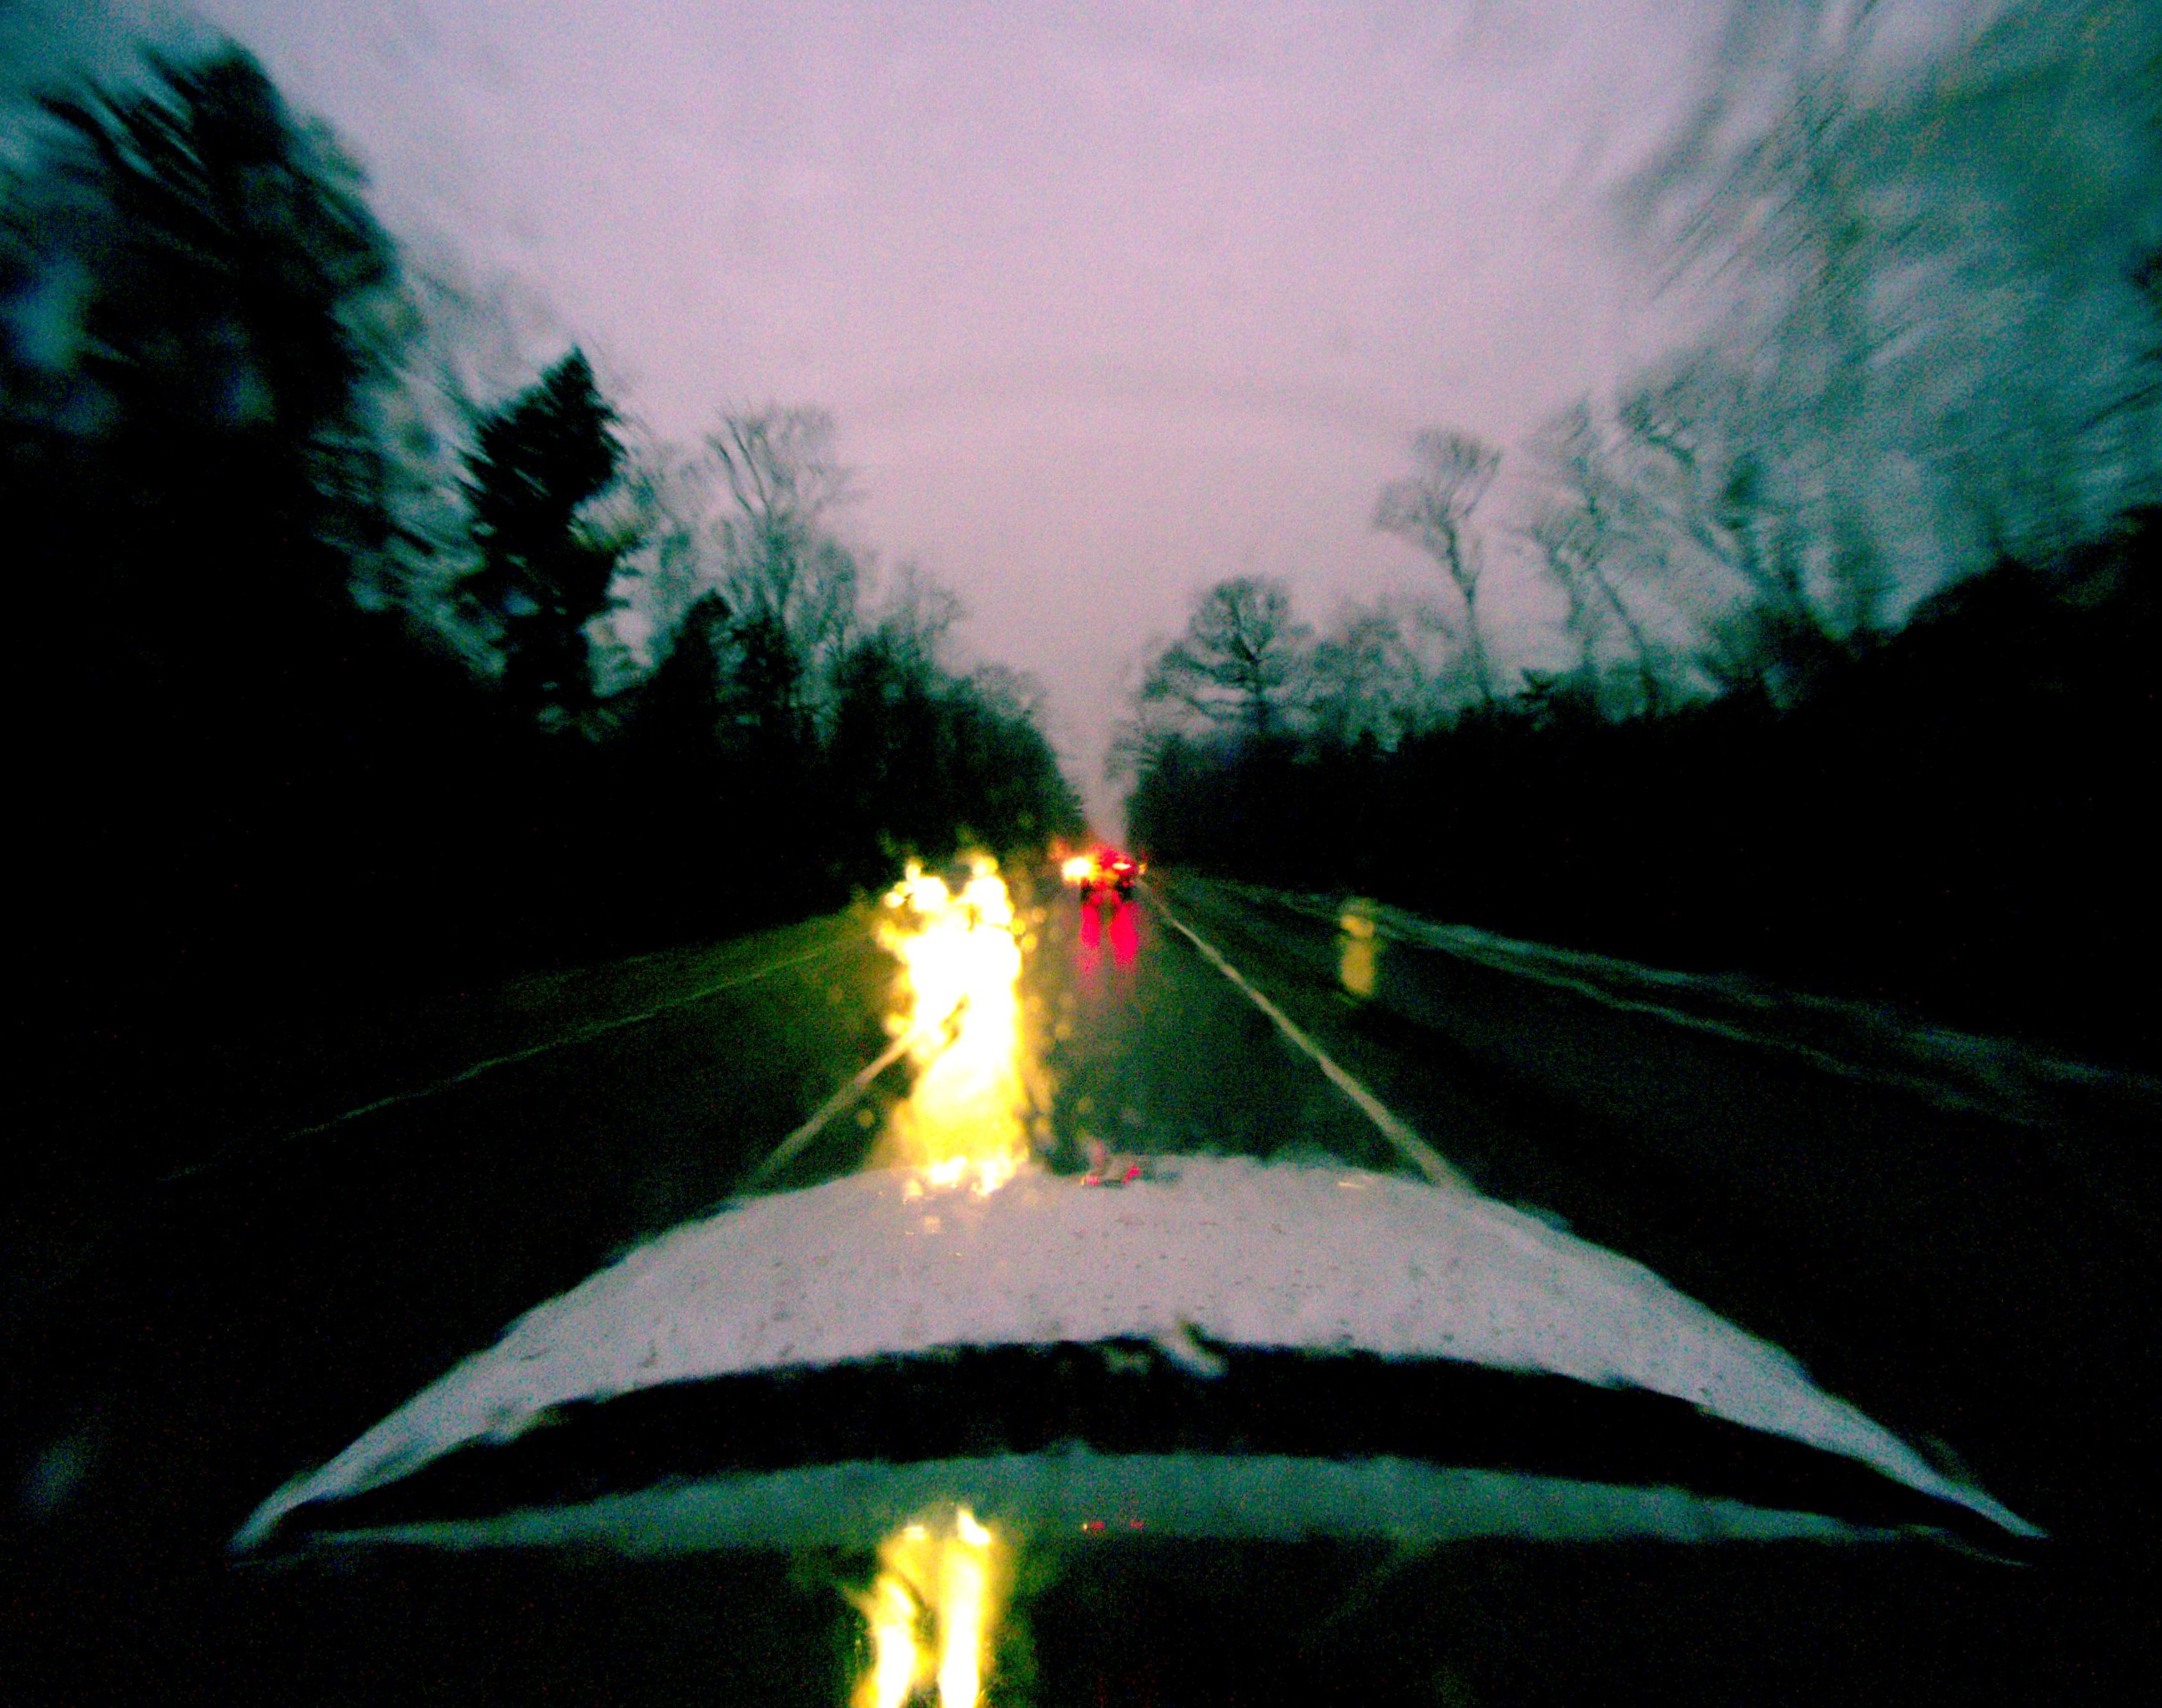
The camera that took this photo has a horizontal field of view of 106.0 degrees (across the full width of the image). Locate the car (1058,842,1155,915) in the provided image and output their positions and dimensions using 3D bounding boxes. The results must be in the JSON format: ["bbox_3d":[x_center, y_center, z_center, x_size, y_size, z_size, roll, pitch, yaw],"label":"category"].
[{"bbox_3d":[1.006,0.821,30.004,3.170,2.386,6.640,0,0,3],"label":"car"}]

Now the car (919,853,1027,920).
[{"bbox_3d":[-2.847,0.809,22.704,1.966,1.568,4.932,-3,0,4],"label":"car"}]

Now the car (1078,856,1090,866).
[{"bbox_3d":[0.470,1.050,125.503,1.685,1.420,4.002,-2,0,2],"label":"car"}]
